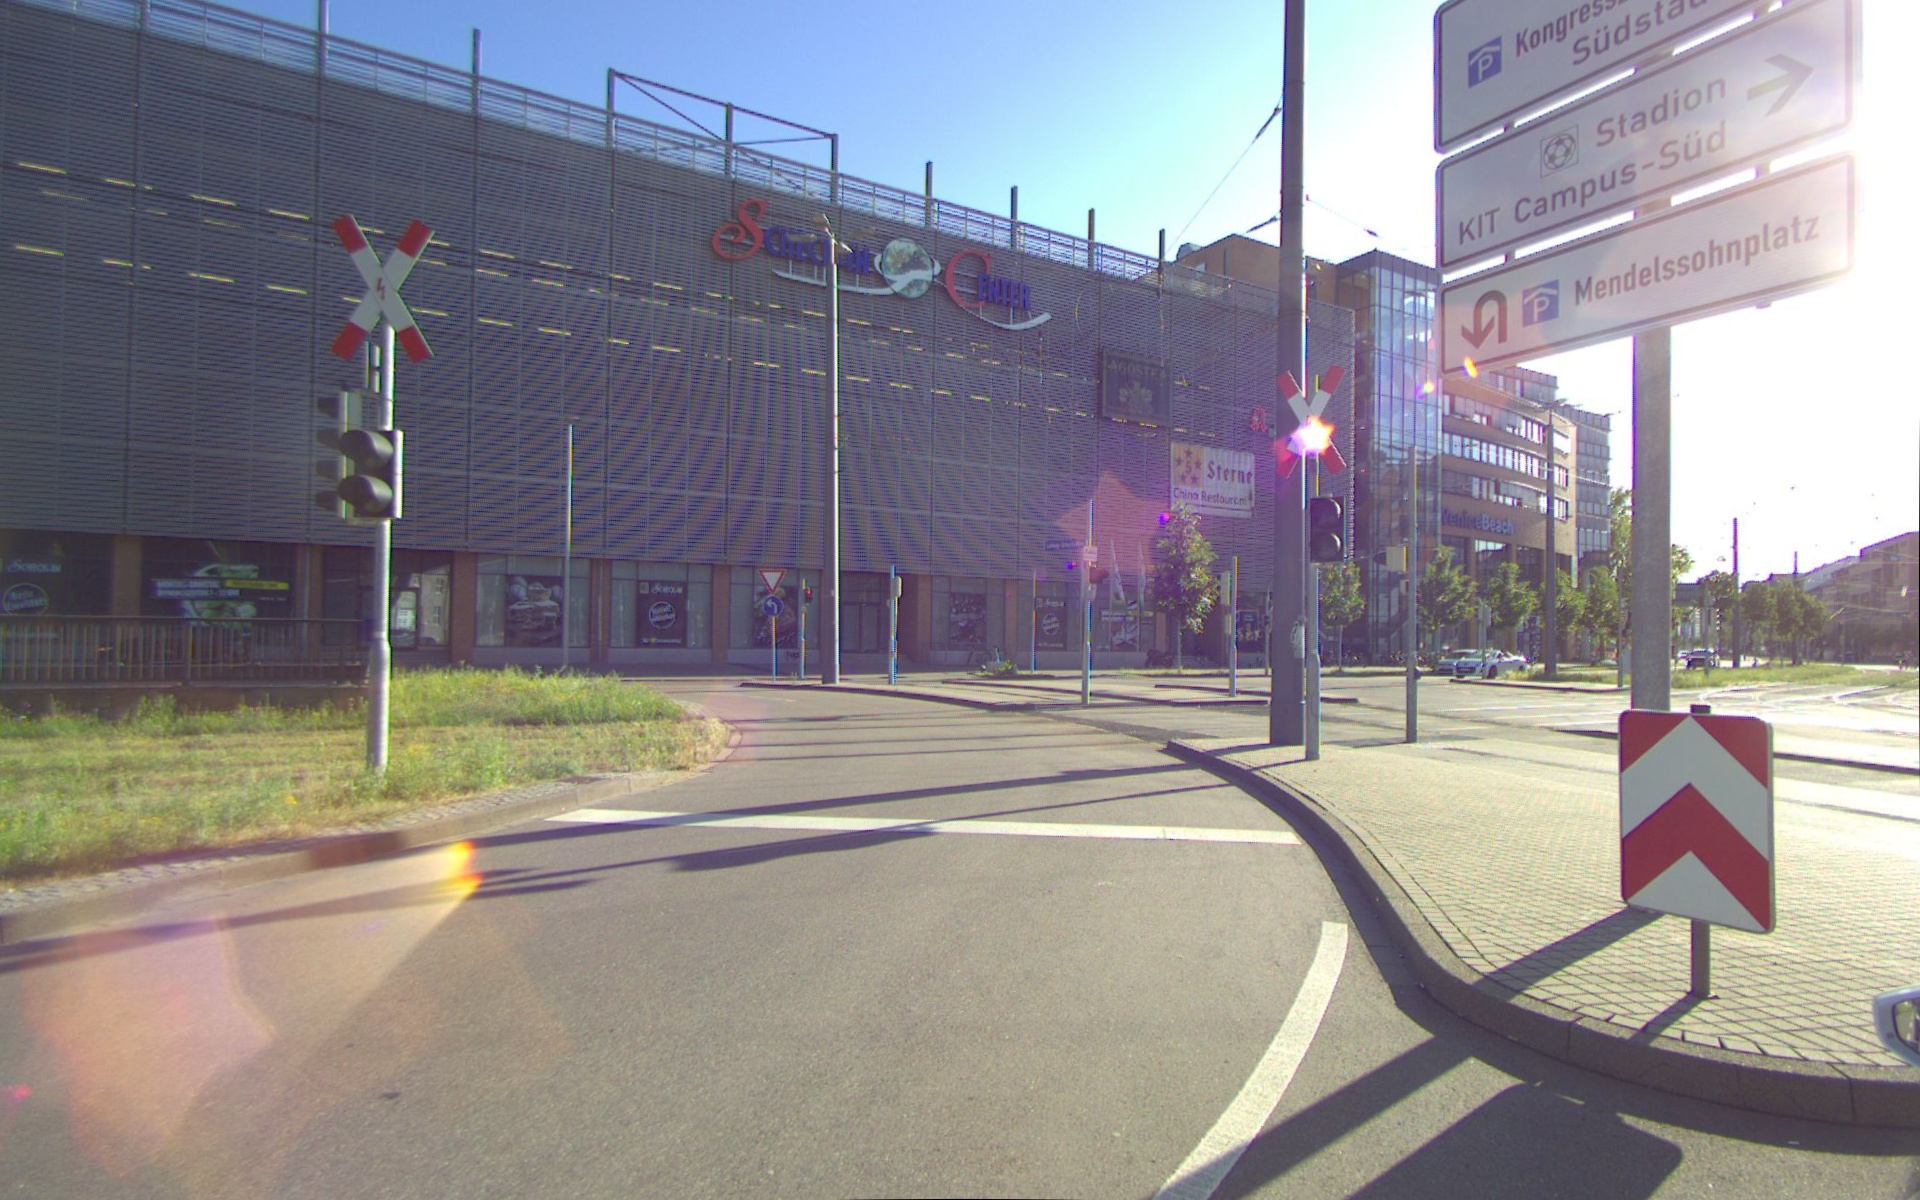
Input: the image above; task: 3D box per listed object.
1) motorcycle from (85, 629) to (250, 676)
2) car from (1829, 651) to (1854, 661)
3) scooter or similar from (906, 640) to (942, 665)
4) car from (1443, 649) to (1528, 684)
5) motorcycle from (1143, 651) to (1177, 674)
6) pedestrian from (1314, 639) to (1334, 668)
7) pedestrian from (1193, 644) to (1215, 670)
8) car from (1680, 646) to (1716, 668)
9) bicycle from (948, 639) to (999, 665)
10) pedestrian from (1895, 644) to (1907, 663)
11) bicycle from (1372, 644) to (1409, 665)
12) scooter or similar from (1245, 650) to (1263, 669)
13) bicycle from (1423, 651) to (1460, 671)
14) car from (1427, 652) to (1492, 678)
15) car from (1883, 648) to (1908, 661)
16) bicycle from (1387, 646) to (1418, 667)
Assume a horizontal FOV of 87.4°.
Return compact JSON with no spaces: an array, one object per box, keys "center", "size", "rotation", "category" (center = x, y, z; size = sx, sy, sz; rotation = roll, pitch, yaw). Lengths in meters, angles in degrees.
[{"center":[-25.993,1.711,33.141],"size":[3.953,1.472,1.984],"rotation":[2,-2,-30],"category":"motorcycle"},{"center":[142.196,9.034,162.062],"size":[1.963,1.661,4.406],"rotation":[0,-2,28],"category":"car"},{"center":[-1.799,2.626,50.358],"size":[1.555,1.222,0.790],"rotation":[3,-4,-29],"category":"scooter or similar"},{"center":[25.617,3.223,48.916],"size":[4.488,1.566,1.979],"rotation":[2,-2,-37],"category":"car"},{"center":[11.208,3.510,56.280],"size":[1.872,1.254,0.672],"rotation":[3,-3,-31],"category":"motorcycle"},{"center":[23.489,3.463,64.781],"size":[0.894,1.848,0.823],"rotation":[3,-4,-29],"category":"pedestrian"},{"center":[14.954,3.481,61.561],"size":[0.819,1.586,0.983],"rotation":[3,-4,-30],"category":"pedestrian"},{"center":[60.232,4.628,81.932],"size":[1.971,1.661,4.389],"rotation":[0,-3,42],"category":"car"},{"center":[0.676,2.590,49.684],"size":[2.384,1.236,0.797],"rotation":[2,-2,-27],"category":"bicycle"},{"center":[97.957,5.570,104.568],"size":[0.892,1.848,0.824],"rotation":[-1,-4,43],"category":"pedestrian"},{"center":[30.377,3.838,70.840],"size":[1.060,1.452,2.367],"rotation":[2,-3,-21],"category":"bicycle"},{"center":[18.159,3.665,61.988],"size":[1.138,1.124,0.419],"rotation":[3,-4,-30],"category":"scooter or similar"},{"center":[35.211,4.456,73.476],"size":[0.891,1.452,2.558],"rotation":[2,-3,-21],"category":"bicycle"},{"center":[28.819,3.728,57.918],"size":[3.965,1.425,1.880],"rotation":[2,-3,-39],"category":"car"},{"center":[129.141,7.579,138.687],"size":[3.967,1.728,1.978],"rotation":[4,-4,-39],"category":"car"},{"center":[31.368,3.971,71.230],"size":[0.848,1.452,2.080],"rotation":[2,-3,-21],"category":"bicycle"}]
